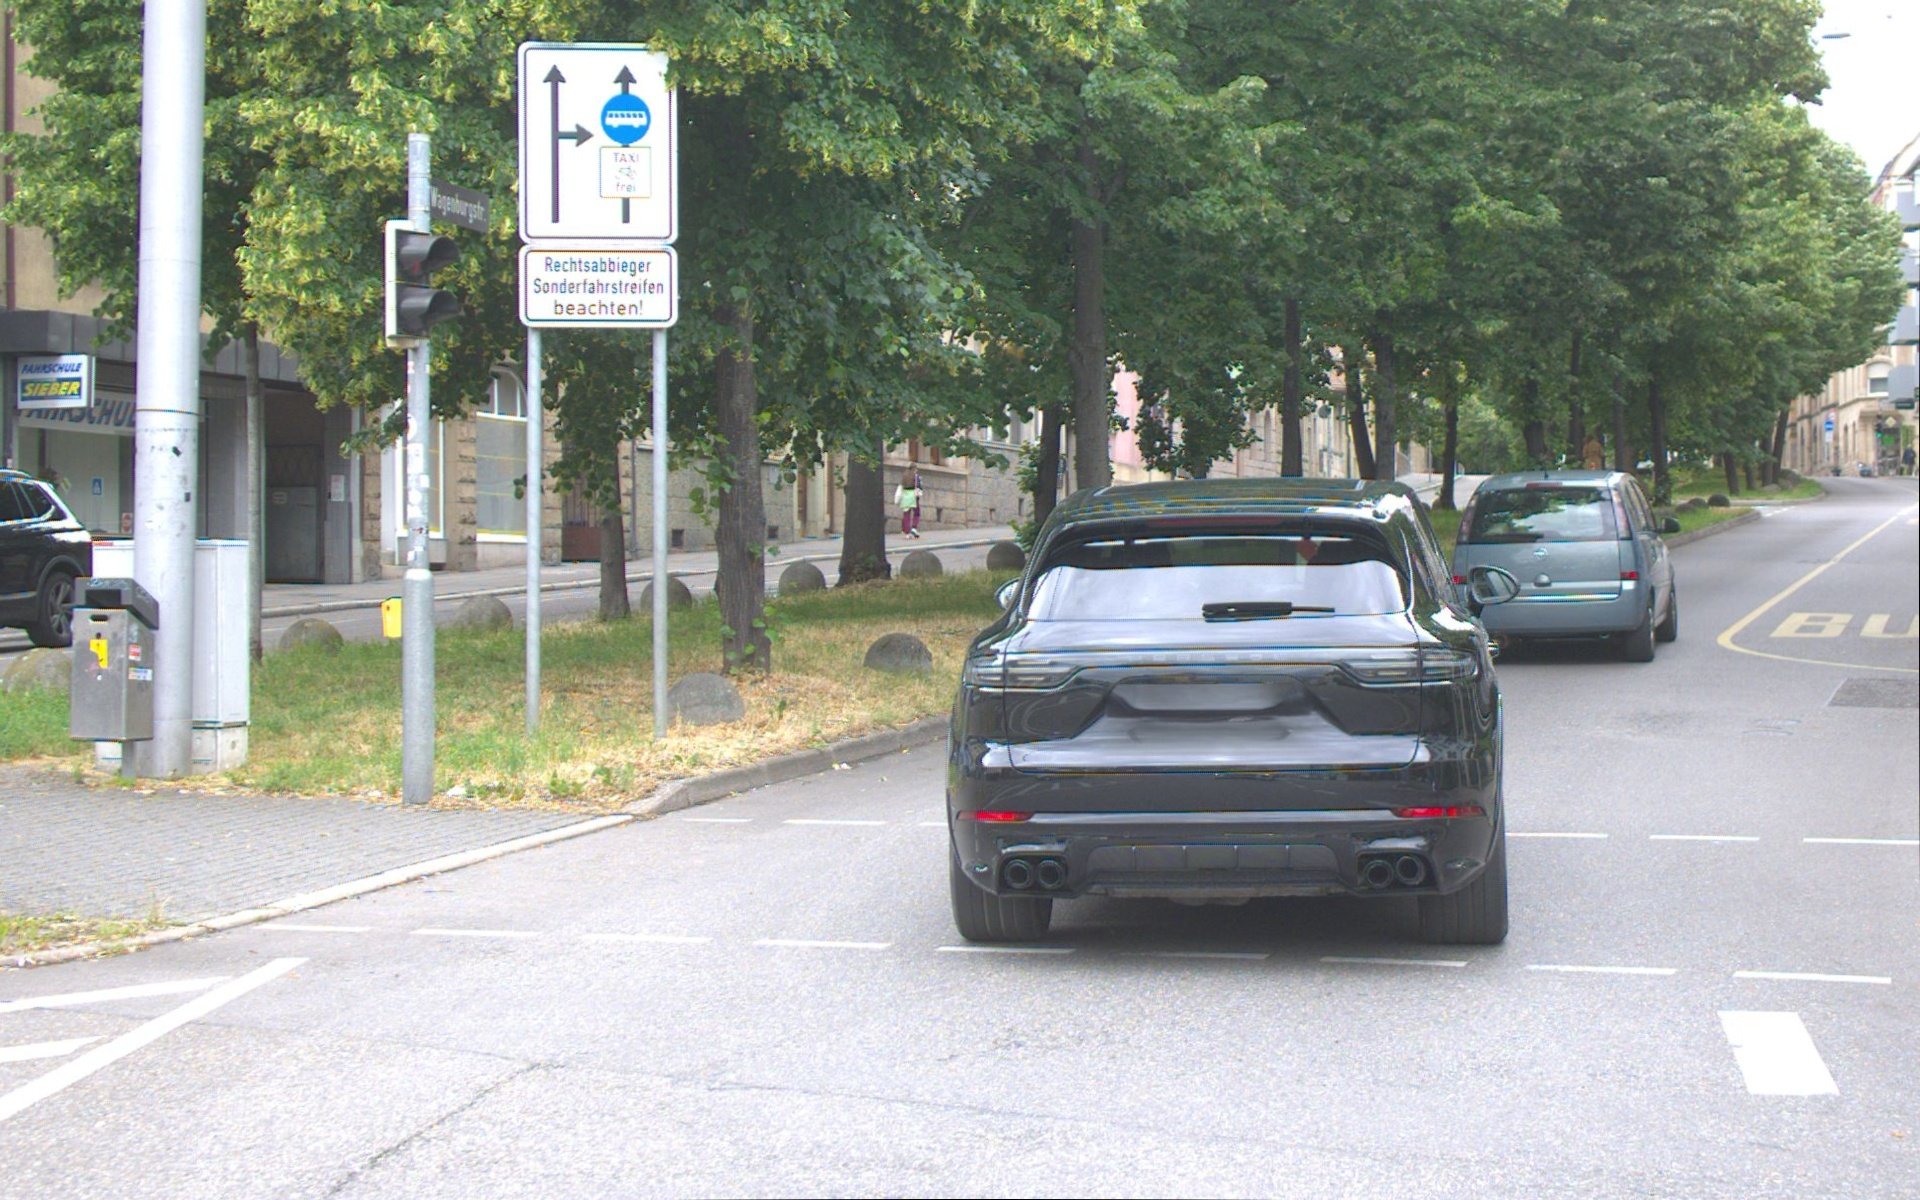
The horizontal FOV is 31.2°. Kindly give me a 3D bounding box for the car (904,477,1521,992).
[{"bbox_3d":[1.145,0.369,13.367,1.994,1.660,3.999,0,2,10],"label":"car"}]

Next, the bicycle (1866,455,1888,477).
[{"bbox_3d":[52.188,-7.632,195.645,0.879,1.125,2.978,1,1,9],"label":"bicycle"}]

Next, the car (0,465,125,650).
[{"bbox_3d":[-9.403,-0.350,30.398,1.817,1.631,4.676,-2,1,16],"label":"car"}]

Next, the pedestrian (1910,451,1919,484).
[{"bbox_3d":[49.485,-6.837,177.464,0.751,1.687,0.858,0,0,12],"label":"pedestrian"}]

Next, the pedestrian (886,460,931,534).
[{"bbox_3d":[-1.026,-2.051,68.362,0.699,1.455,0.703,1,3,18],"label":"pedestrian"}]

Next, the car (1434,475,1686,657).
[{"bbox_3d":[5.241,-0.324,29.743,1.764,1.460,3.589,1,1,16],"label":"car"}]
